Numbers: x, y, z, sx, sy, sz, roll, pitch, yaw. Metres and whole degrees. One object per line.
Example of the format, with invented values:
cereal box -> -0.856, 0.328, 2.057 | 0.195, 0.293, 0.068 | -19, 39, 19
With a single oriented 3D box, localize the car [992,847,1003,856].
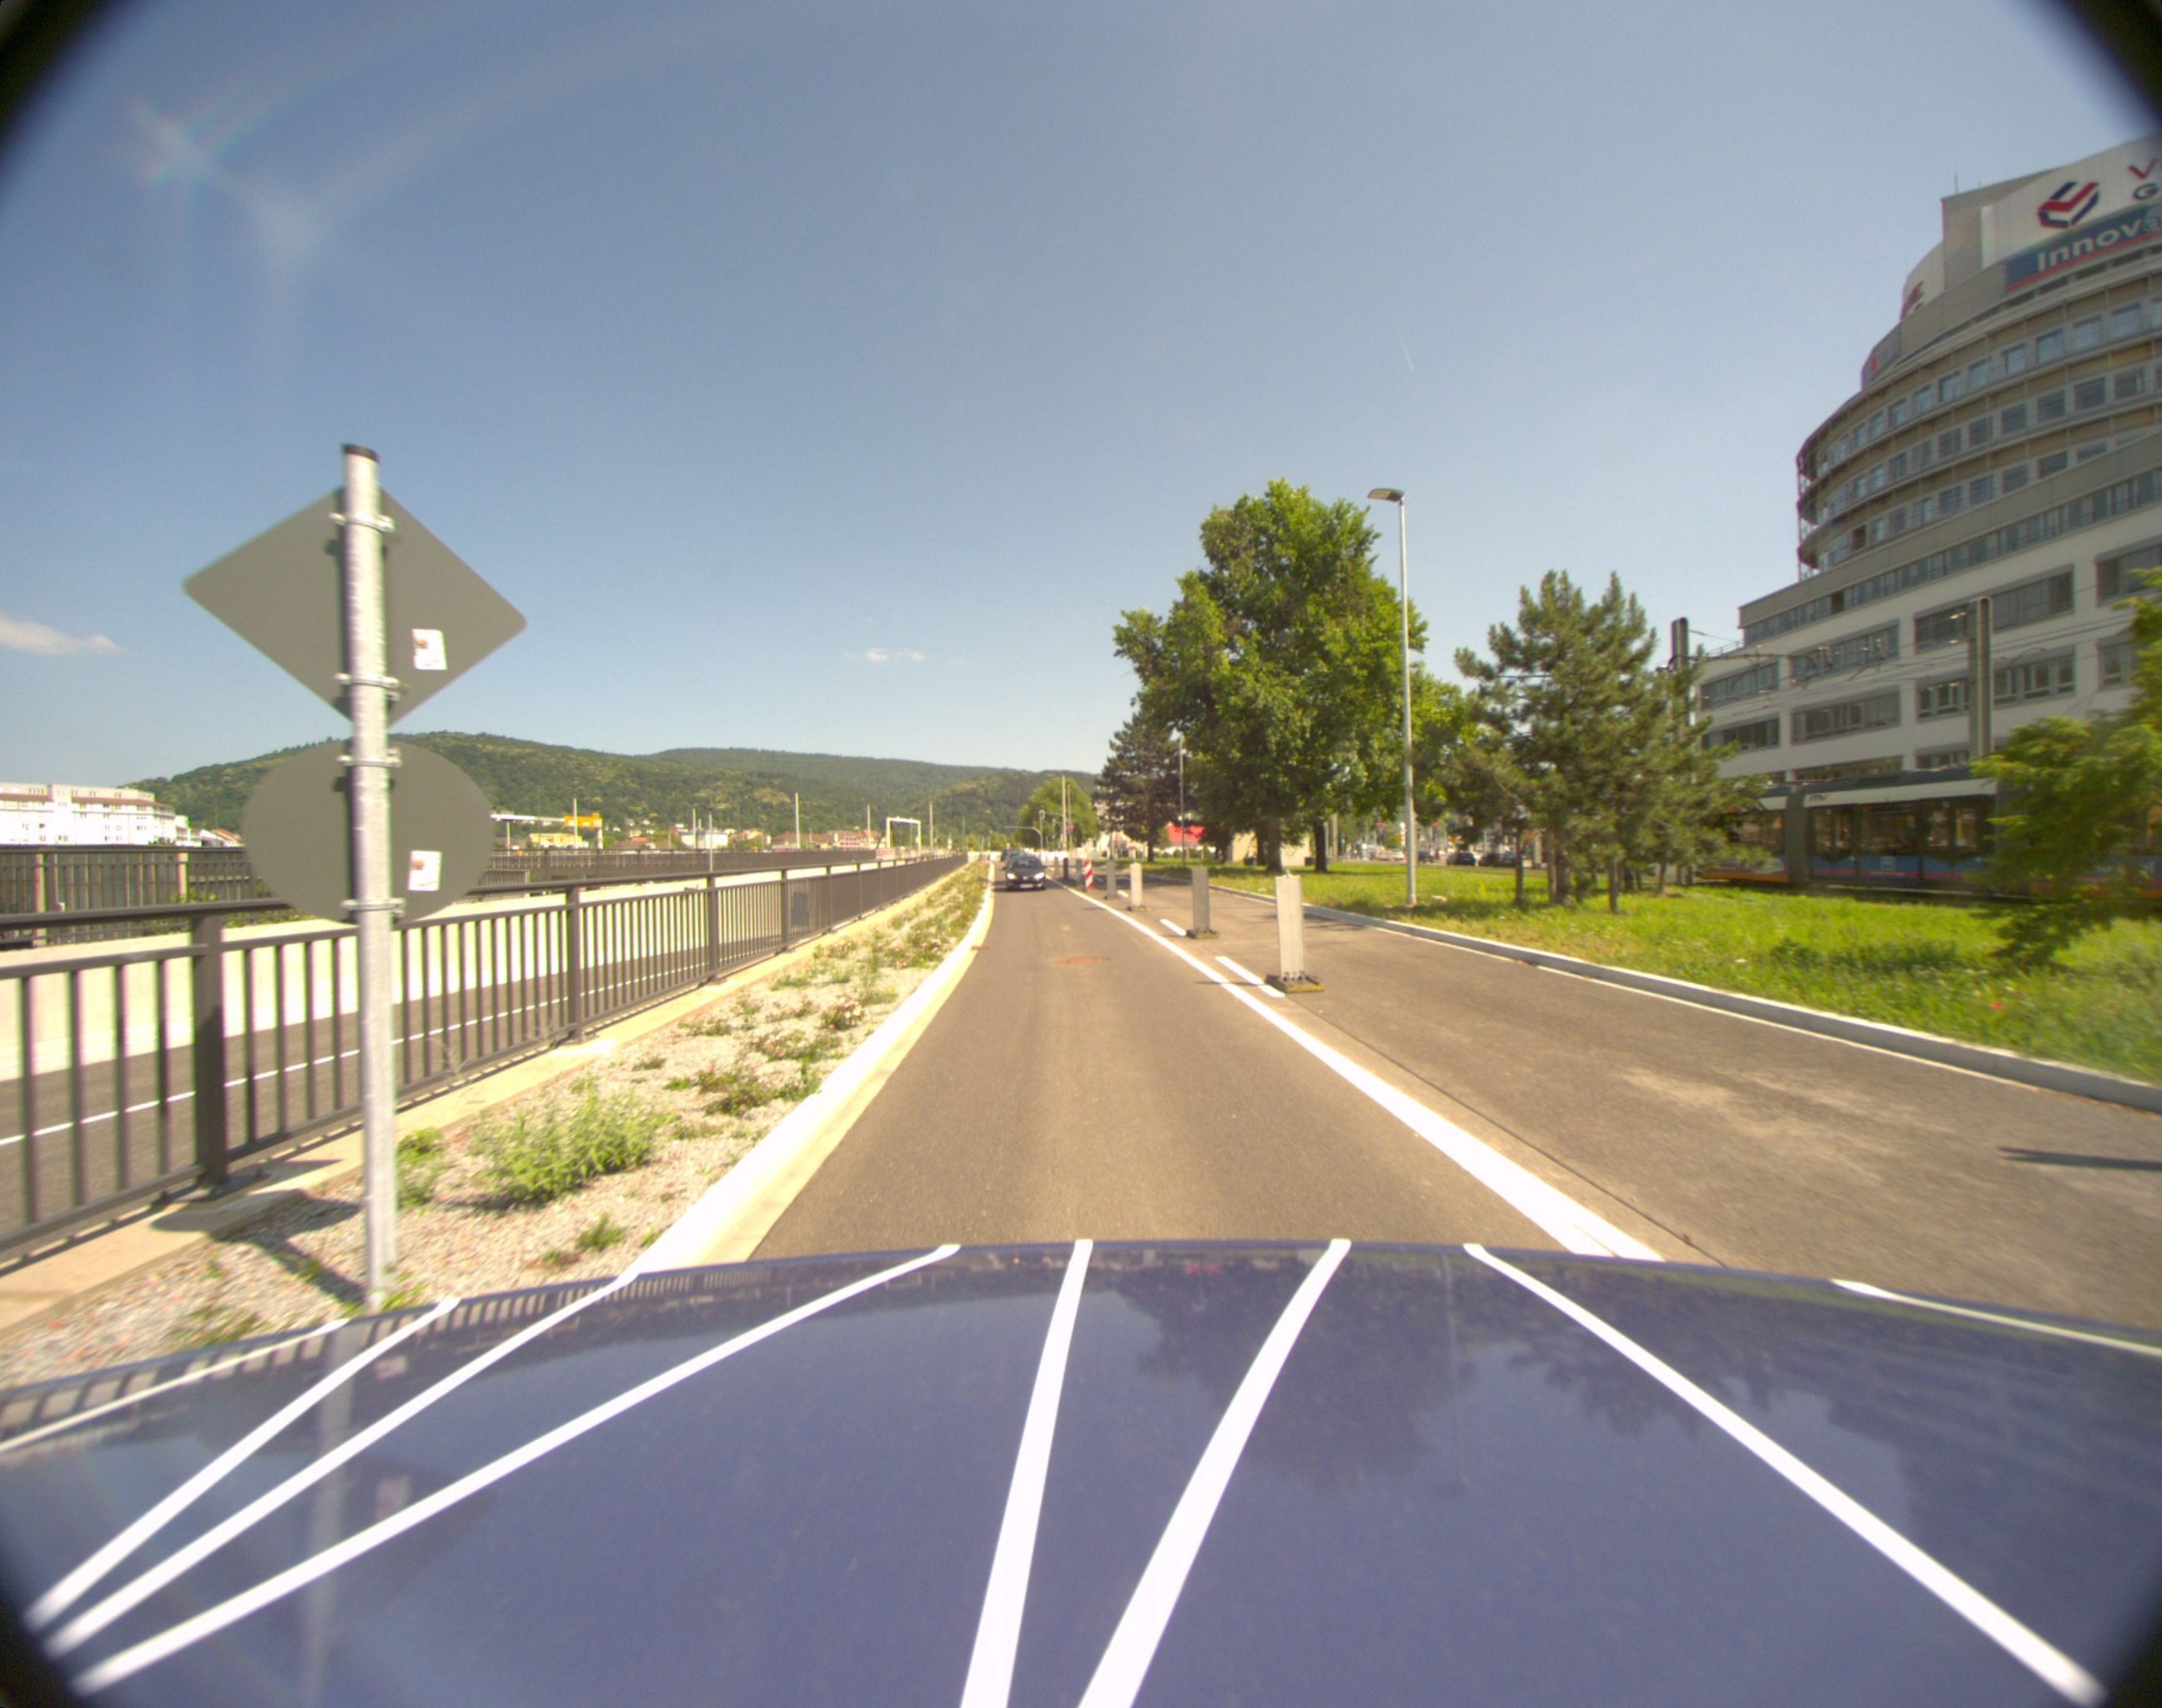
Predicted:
car -> -14.980, -0.453, 136.117 | 1.620, 1.433, 3.764 | -2, 1, -9

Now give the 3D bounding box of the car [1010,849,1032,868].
car -> -4.762, 0.319, 60.023 | 1.619, 1.433, 3.765 | -1, 1, -6

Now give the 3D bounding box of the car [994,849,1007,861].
car -> -10.681, 0.102, 100.902 | 1.619, 1.433, 3.765 | -1, 1, -7

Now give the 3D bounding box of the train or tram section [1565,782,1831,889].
train or tram section -> 24.328, -0.652, 31.255 | 2.630, 3.430, 11.787 | -3, 0, 8

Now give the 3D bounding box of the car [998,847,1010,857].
car -> -12.002, -0.365, 118.513 | 1.620, 1.433, 3.764 | -2, 1, -9

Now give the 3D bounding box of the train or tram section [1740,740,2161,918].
train or tram section -> 22.754, -0.578, 19.533 | 2.630, 3.430, 11.787 | -3, 0, 8

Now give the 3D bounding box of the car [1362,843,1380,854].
car -> 42.563, -0.824, 111.508 | 1.889, 1.493, 3.806 | -2, 1, 11

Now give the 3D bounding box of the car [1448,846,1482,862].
car -> 35.395, -0.024, 70.072 | 1.889, 1.368, 3.806 | -2, 1, 13

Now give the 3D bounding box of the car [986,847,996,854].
car -> -17.686, -0.678, 149.091 | 1.620, 1.433, 3.764 | -2, 1, -9

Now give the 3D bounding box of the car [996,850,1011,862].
car -> -9.600, 0.215, 93.579 | 1.619, 1.433, 3.765 | -2, 1, -8

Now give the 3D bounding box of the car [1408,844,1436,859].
car -> 37.087, -0.292, 82.734 | 1.890, 1.493, 3.805 | -2, 1, 10

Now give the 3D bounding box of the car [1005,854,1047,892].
car -> -2.330, 0.771, 31.996 | 1.619, 1.433, 3.705 | -1, 1, -5

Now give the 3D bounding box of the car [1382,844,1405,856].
car -> 39.275, -0.519, 95.554 | 1.889, 1.493, 3.806 | -2, 1, 11
